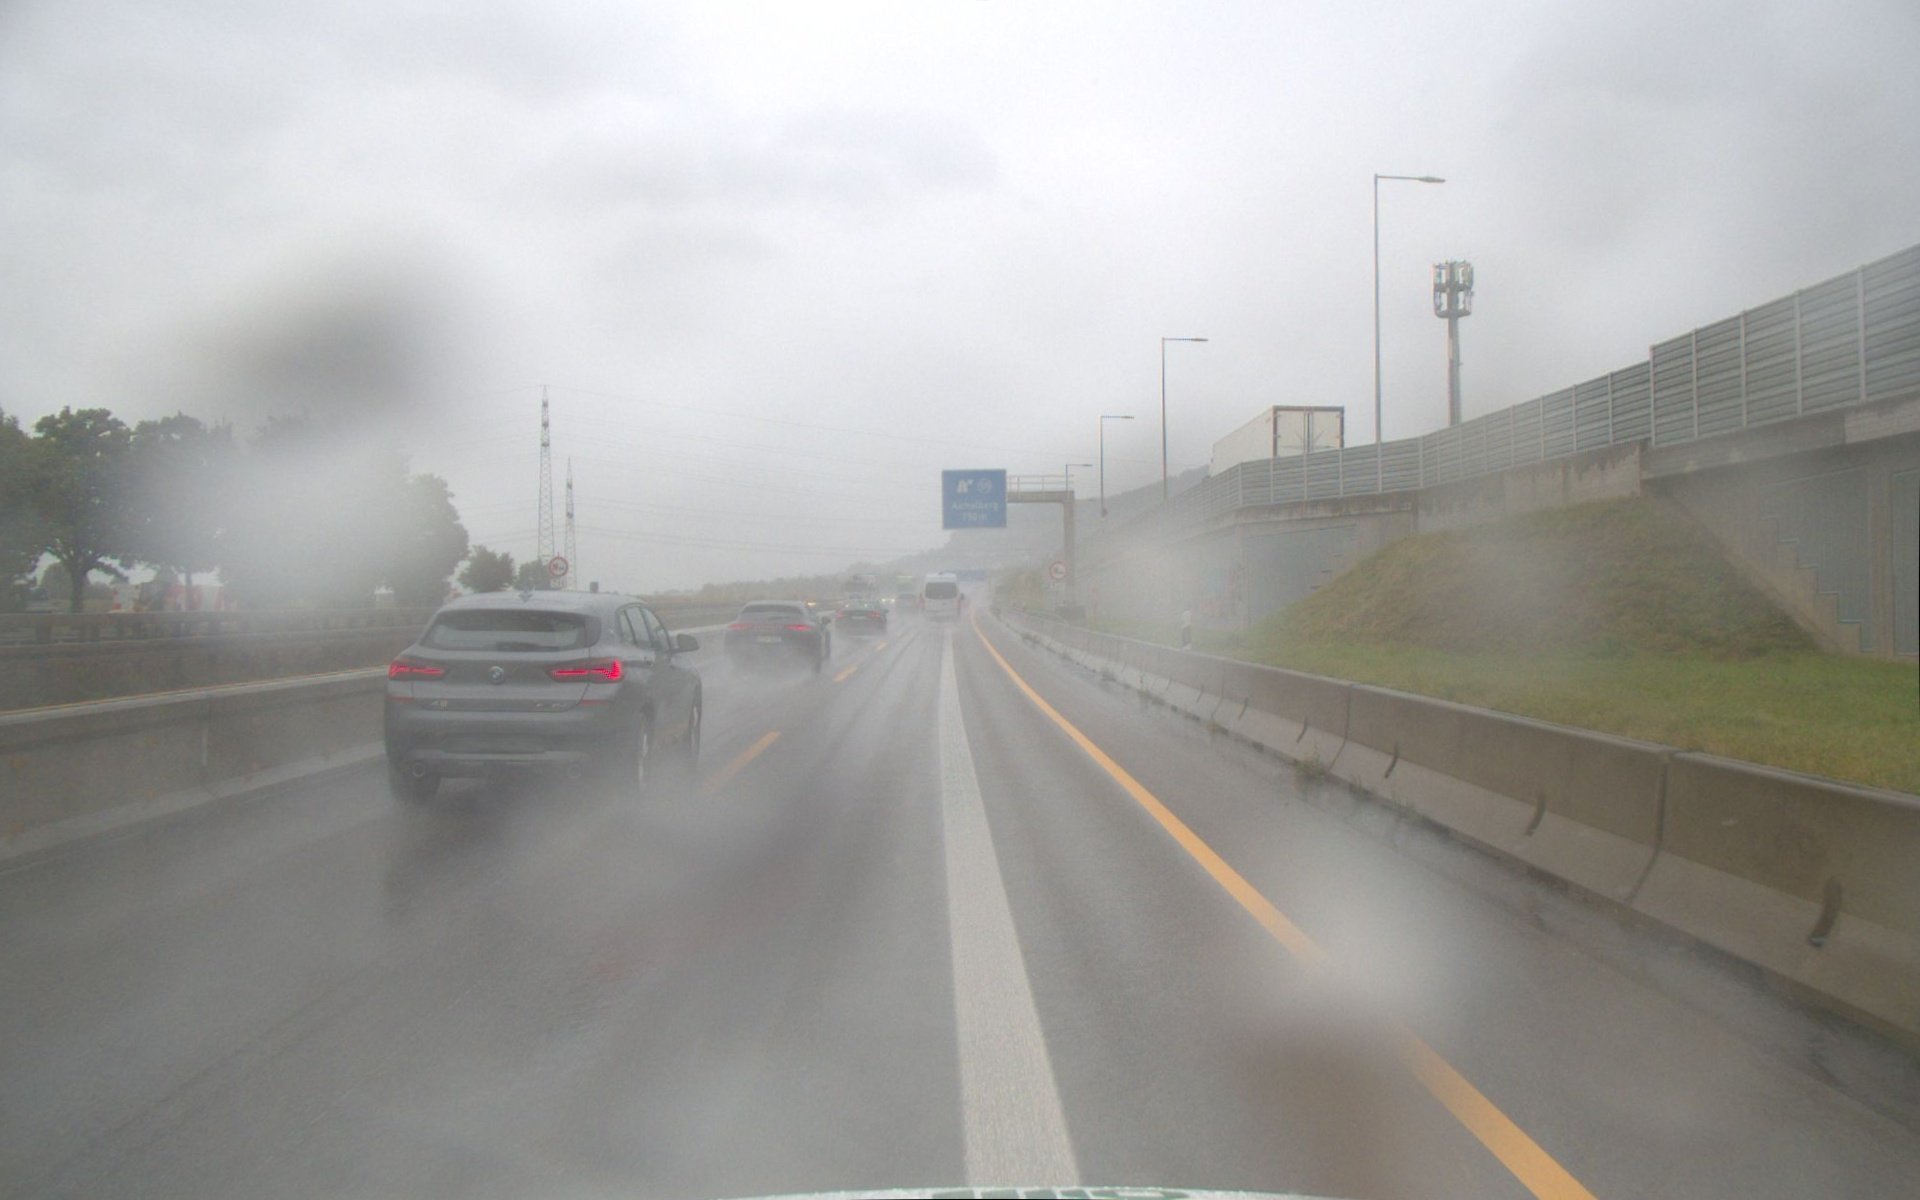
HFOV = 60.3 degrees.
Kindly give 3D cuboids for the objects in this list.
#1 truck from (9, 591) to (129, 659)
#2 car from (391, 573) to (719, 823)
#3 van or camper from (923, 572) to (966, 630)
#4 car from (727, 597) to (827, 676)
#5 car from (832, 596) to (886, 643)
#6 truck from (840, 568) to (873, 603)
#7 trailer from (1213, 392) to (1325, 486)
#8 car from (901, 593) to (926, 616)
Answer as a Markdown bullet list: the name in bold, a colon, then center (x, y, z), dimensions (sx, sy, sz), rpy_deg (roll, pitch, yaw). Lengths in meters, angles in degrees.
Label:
- **truck**: center (-44.376, 1.266, 82.541), dimensions (2.558, 3.269, 5.869), rpy_deg (0, -1, 3)
- **car**: center (-2.995, 0.688, 13.236), dimensions (1.667, 1.626, 4.841), rpy_deg (0, -1, -3)
- **van or camper**: center (-0.813, 0.069, 82.820), dimensions (1.956, 2.826, 4.046), rpy_deg (0, -1, -3)
- **car**: center (-3.705, 0.738, 34.040), dimensions (1.807, 1.517, 4.258), rpy_deg (0, -1, -3)
- **car**: center (-3.604, 0.663, 59.409), dimensions (1.808, 1.517, 4.259), rpy_deg (-3, 0, -3)
- **truck**: center (-10.162, -1.418, 163.233), dimensions (2.585, 3.406, 9.552), rpy_deg (0, 0, 0)
- **trailer**: center (12.041, -6.200, 65.752), dimensions (1.952, 2.143, 13.767), rpy_deg (0, -1, 0)
- **car**: center (-3.271, 0.308, 116.355), dimensions (1.536, 1.506, 2.819), rpy_deg (-2, -1, -4)
